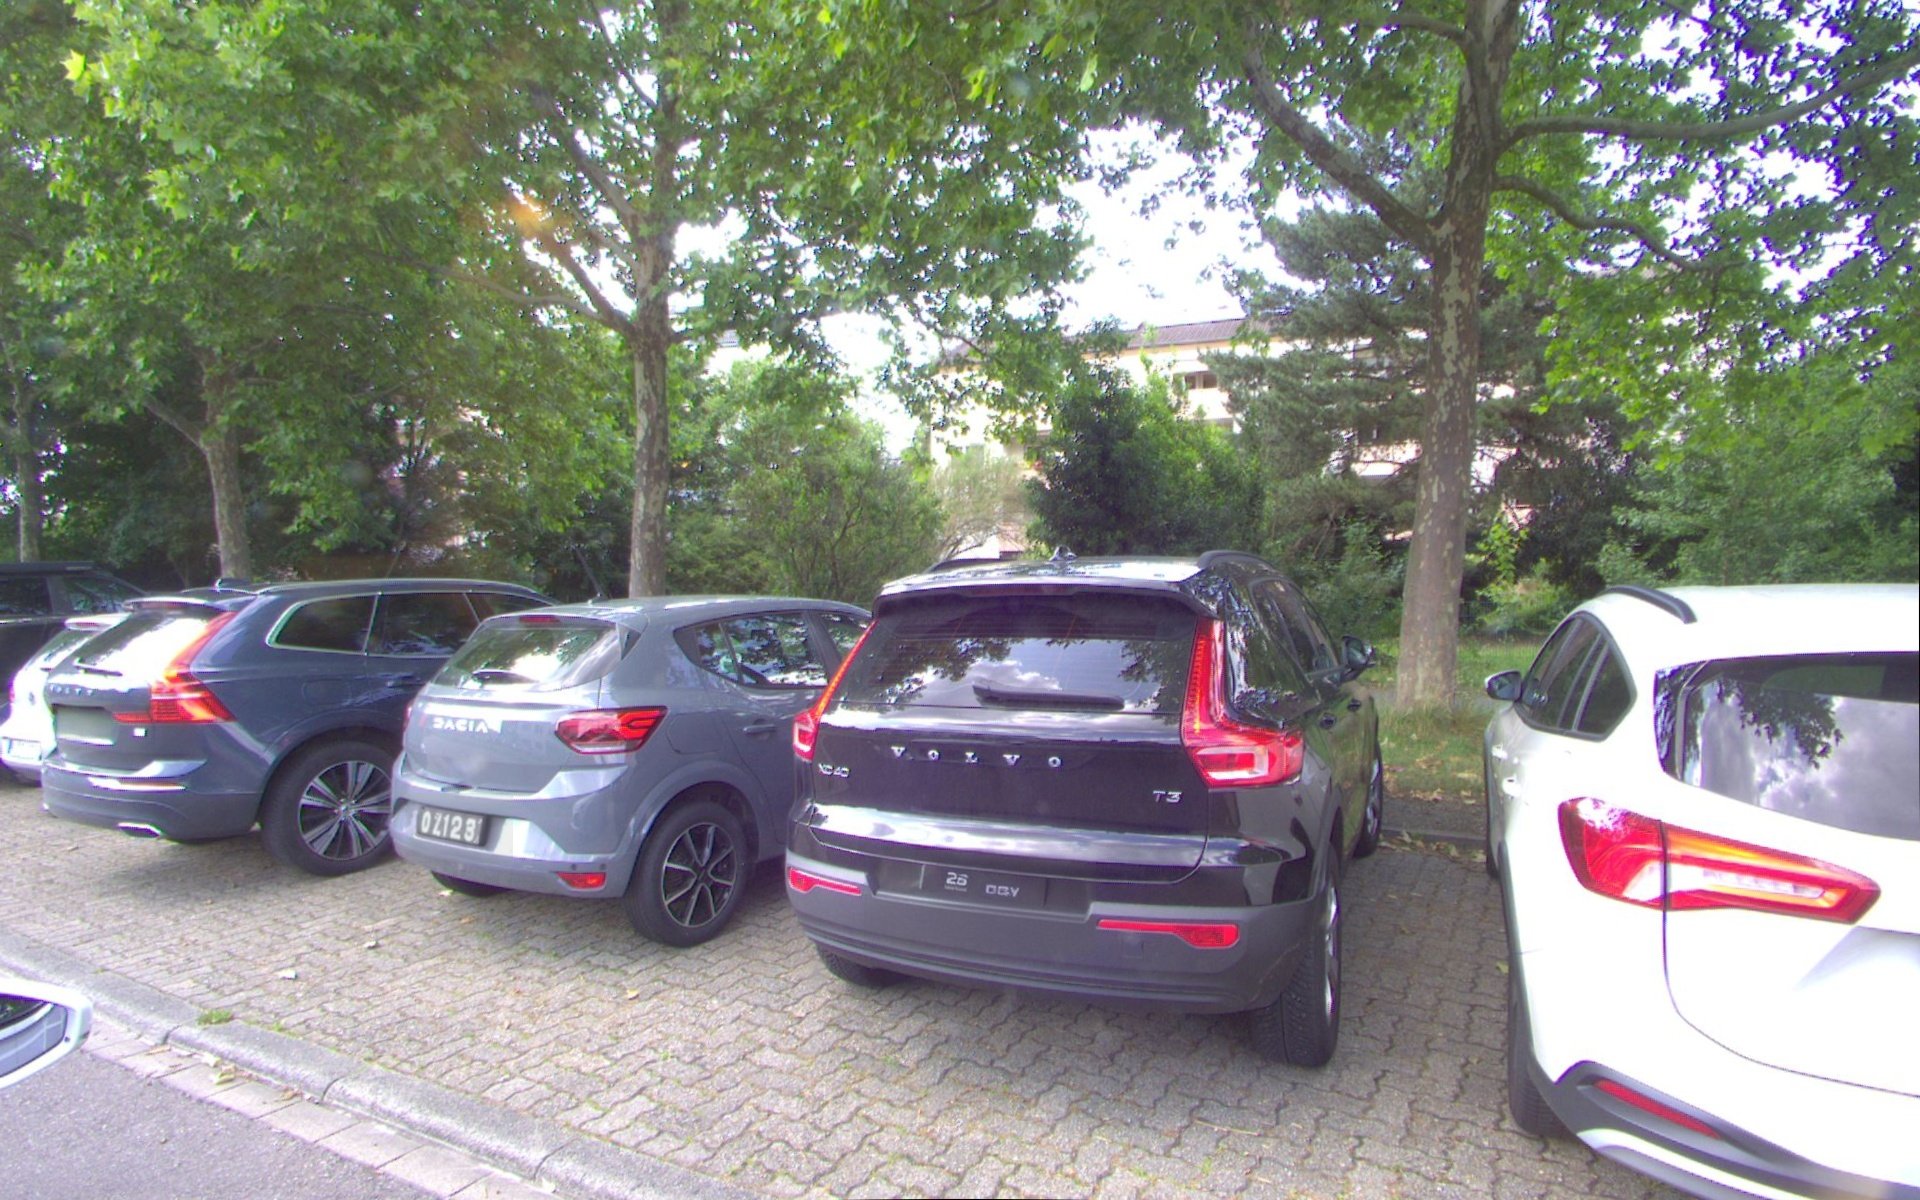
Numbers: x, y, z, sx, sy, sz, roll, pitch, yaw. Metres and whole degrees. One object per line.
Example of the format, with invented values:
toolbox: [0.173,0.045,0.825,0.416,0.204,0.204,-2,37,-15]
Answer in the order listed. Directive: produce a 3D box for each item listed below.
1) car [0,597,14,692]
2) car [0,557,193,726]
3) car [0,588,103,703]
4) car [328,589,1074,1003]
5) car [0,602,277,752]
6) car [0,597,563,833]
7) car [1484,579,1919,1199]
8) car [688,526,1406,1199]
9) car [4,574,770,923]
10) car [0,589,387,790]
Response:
car: [-18.685,0.833,16.198,1.826,1.683,4.543,0,1,26]
car: [-13.122,0.537,13.075,1.828,2.152,4.538,0,1,30]
car: [-16.320,0.743,15.295,1.828,1.790,4.538,0,1,30]
car: [-1.043,0.714,6.052,1.731,1.521,4.370,0,1,32]
car: [-10.430,0.831,11.450,1.730,1.514,3.959,-1,1,30]
car: [-5.738,0.761,8.784,1.730,1.514,3.959,0,1,30]
car: [2.928,0.678,3.542,1.818,1.493,4.654,0,1,27]
car: [1.014,0.618,4.787,1.818,1.648,4.654,0,1,27]
car: [-3.501,0.674,7.057,1.731,1.661,4.370,0,1,32]
car: [-8.135,0.728,10.009,1.725,1.627,3.969,0,1,20]
